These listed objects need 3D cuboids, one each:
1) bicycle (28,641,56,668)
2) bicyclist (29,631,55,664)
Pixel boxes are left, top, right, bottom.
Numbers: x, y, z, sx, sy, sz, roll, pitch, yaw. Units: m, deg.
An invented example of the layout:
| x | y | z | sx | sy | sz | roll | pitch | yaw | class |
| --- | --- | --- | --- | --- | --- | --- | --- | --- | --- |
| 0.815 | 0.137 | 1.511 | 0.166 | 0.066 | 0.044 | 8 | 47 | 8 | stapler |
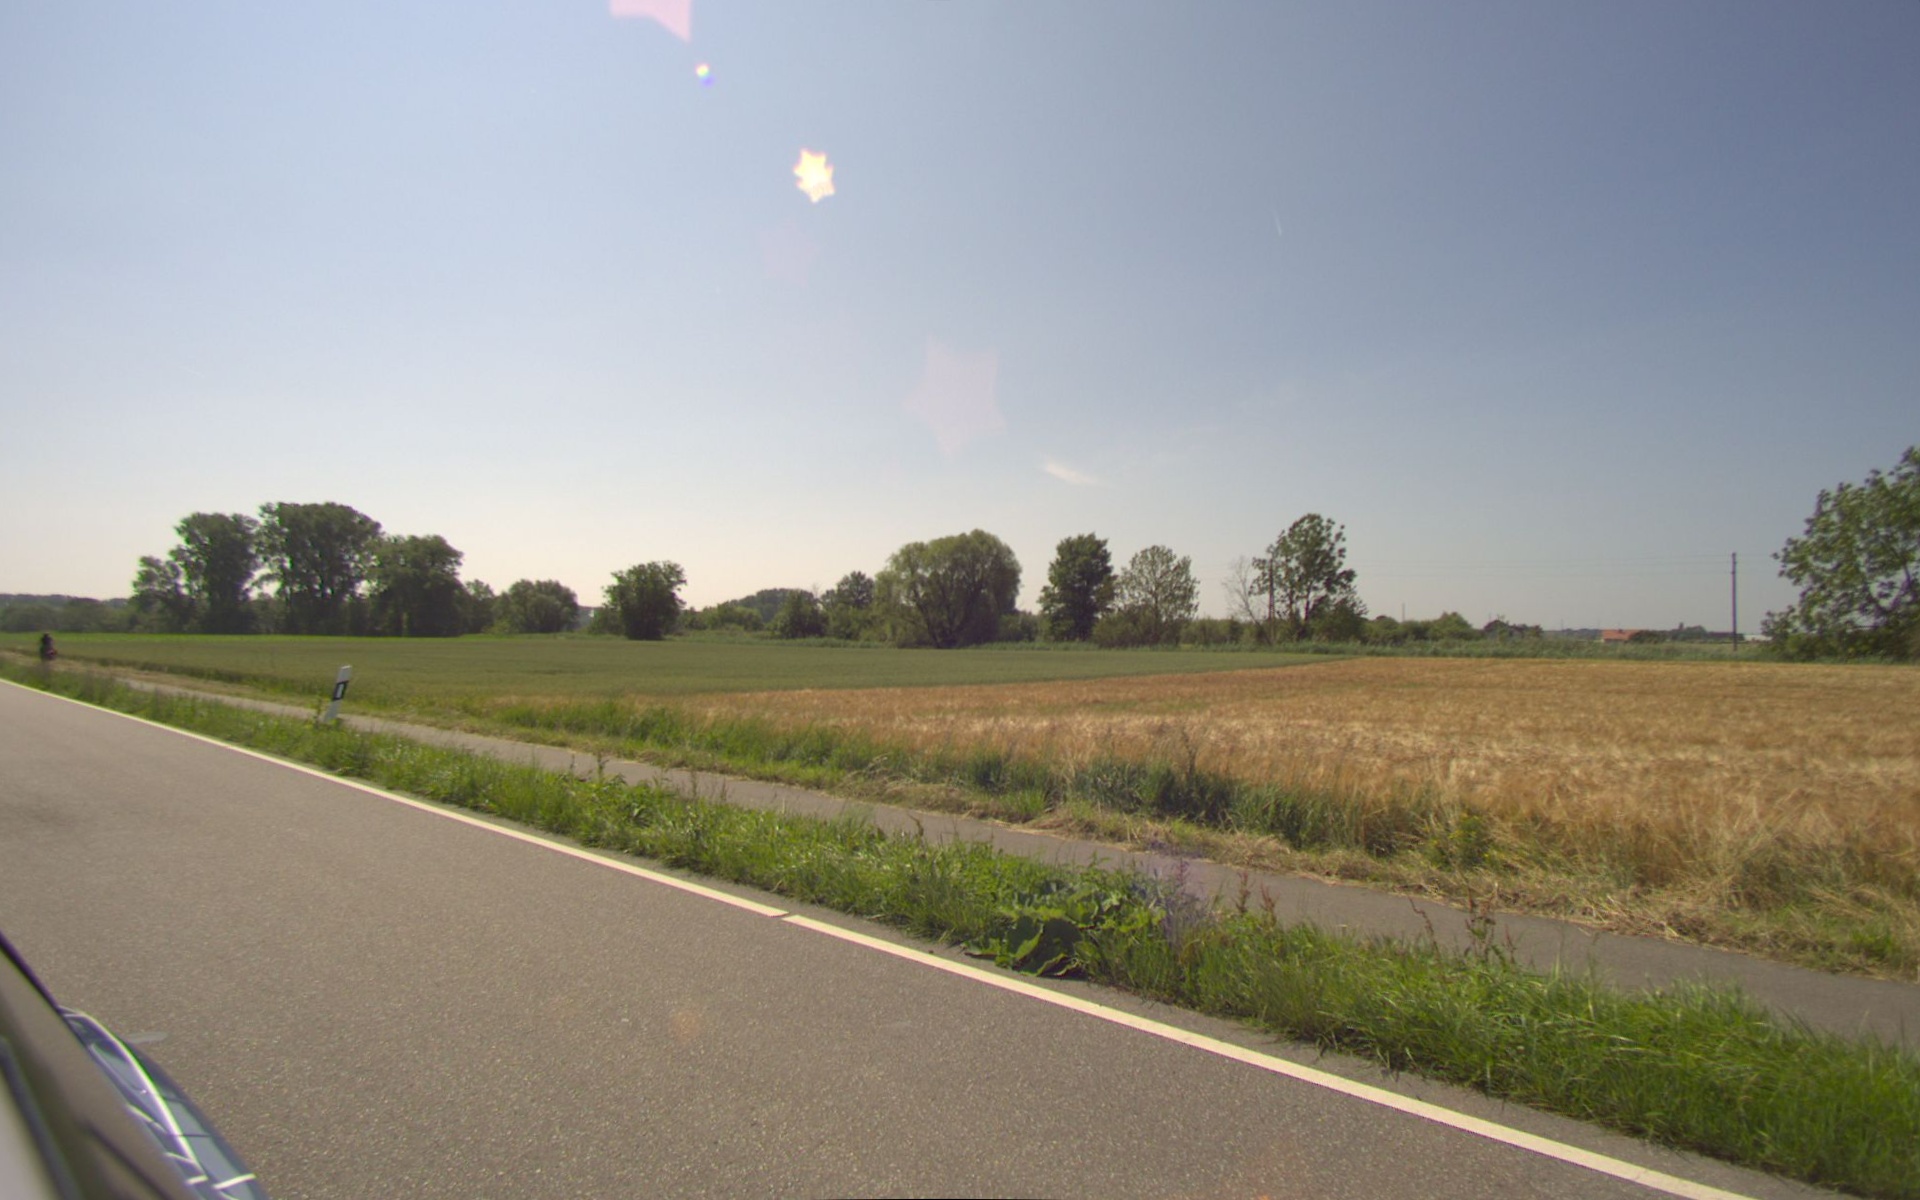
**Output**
| x | y | z | sx | sy | sz | roll | pitch | yaw | class |
| --- | --- | --- | --- | --- | --- | --- | --- | --- | --- |
| -42.463 | 2.515 | 46.815 | 2.082 | 1.180 | 0.733 | -1 | -3 | 42 | bicycle |
| -42.468 | 2.207 | 46.819 | 1.003 | 1.508 | 0.733 | -2 | -3 | 42 | bicyclist |
